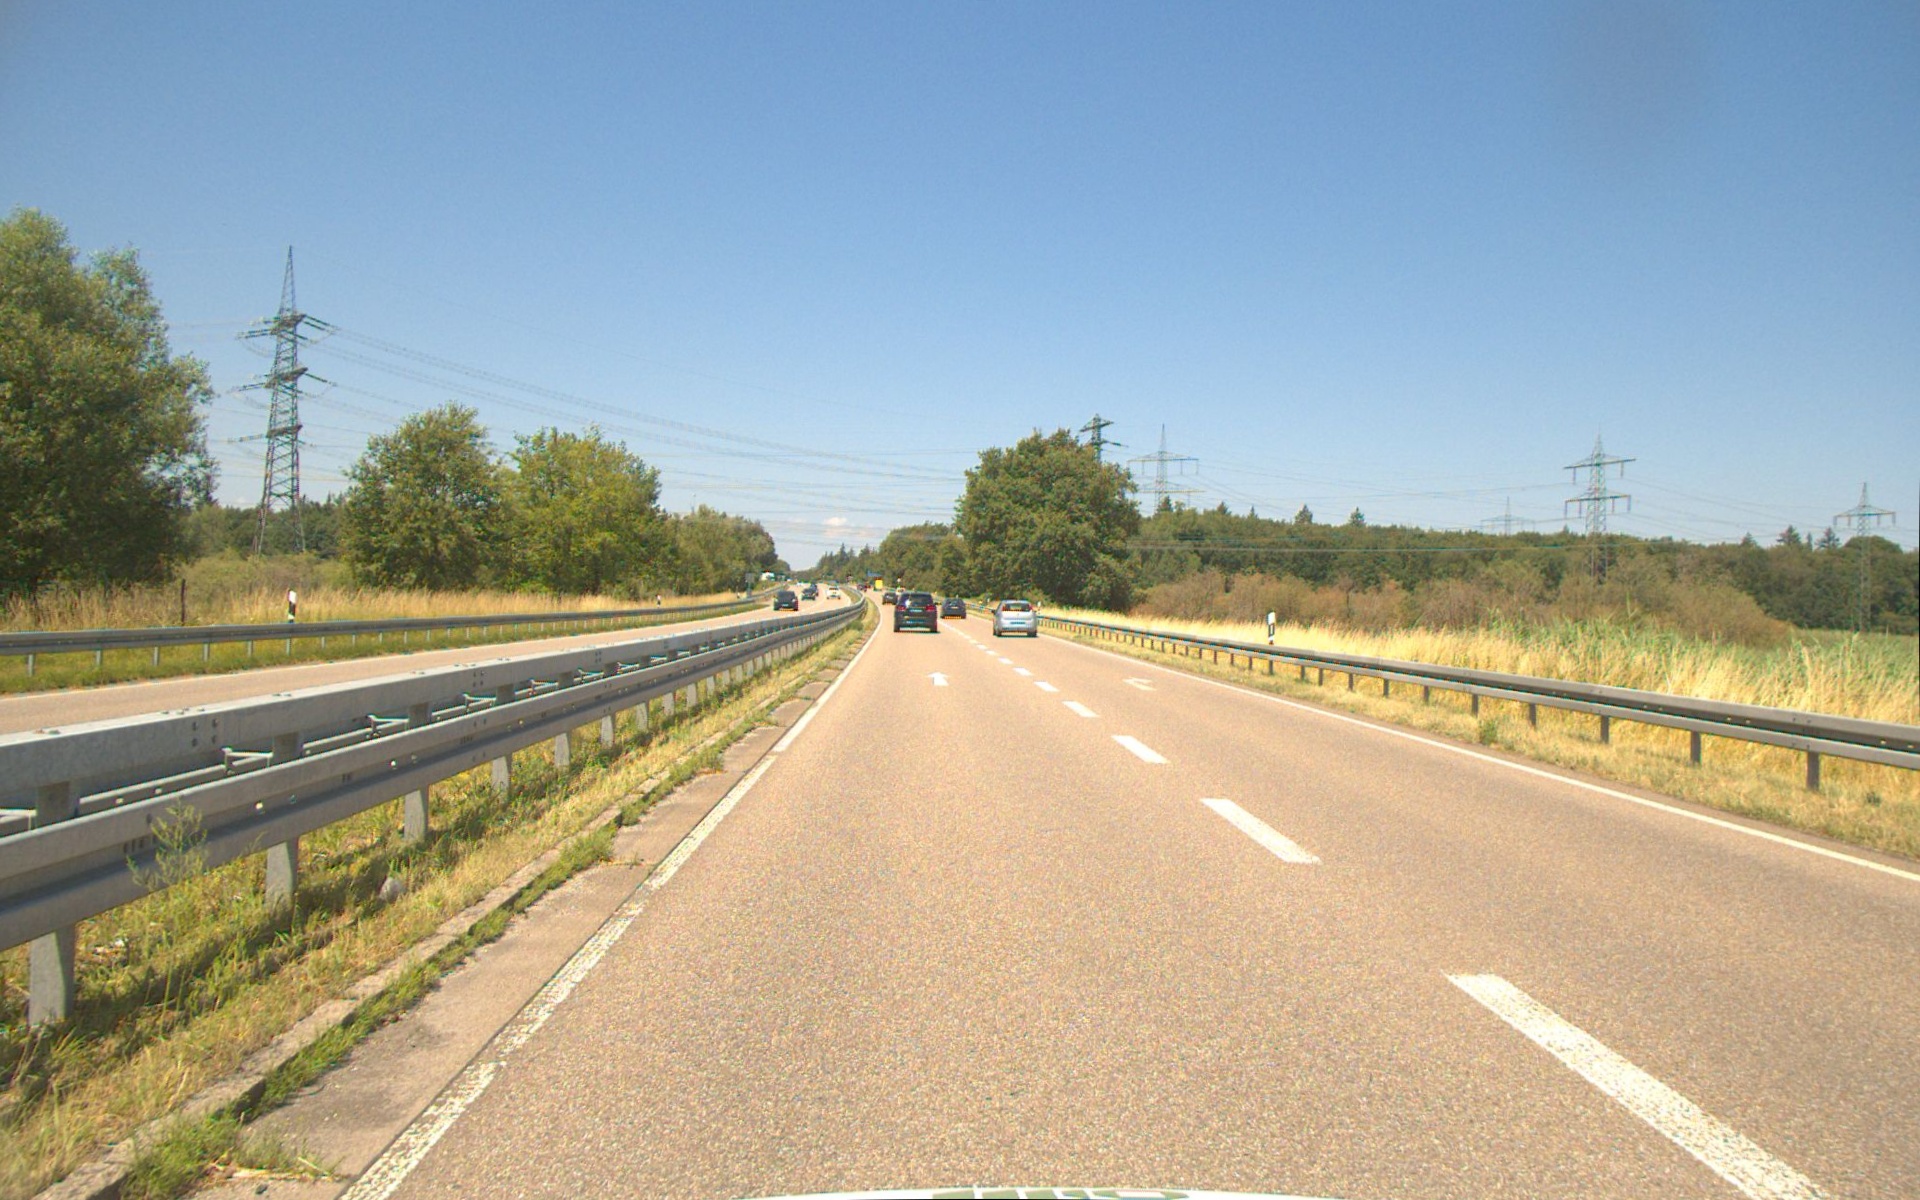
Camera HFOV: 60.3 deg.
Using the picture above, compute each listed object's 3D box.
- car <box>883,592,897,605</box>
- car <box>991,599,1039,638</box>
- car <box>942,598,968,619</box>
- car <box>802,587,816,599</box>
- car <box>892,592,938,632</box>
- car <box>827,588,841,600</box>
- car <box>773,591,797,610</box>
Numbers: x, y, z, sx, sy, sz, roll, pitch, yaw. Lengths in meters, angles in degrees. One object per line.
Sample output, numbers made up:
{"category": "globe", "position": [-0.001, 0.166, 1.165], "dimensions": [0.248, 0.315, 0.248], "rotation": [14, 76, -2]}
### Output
{"category": "car", "position": [-8.035, -0.147, 189.965], "dimensions": [1.484, 1.501, 3.065], "rotation": [1, 0, -1]}
{"category": "car", "position": [2.234, 0.749, 68.215], "dimensions": [1.743, 1.505, 4.314], "rotation": [1, 0, -1]}
{"category": "car", "position": [-0.401, 0.623, 117.861], "dimensions": [1.782, 1.439, 3.999], "rotation": [1, 0, -1]}
{"category": "car", "position": [-20.046, -0.887, 219.672], "dimensions": [1.582, 1.501, 3.065], "rotation": [1, 0, -2]}
{"category": "car", "position": [-1.958, 0.498, 72.816], "dimensions": [1.953, 1.683, 3.999], "rotation": [1, 0, -1]}
{"category": "car", "position": [-18.059, -0.873, 236.387], "dimensions": [1.955, 1.691, 3.996], "rotation": [1, 0, -5]}
{"category": "car", "position": [-14.682, 0.049, 138.981], "dimensions": [1.795, 1.501, 3.682], "rotation": [1, 0, -3]}
